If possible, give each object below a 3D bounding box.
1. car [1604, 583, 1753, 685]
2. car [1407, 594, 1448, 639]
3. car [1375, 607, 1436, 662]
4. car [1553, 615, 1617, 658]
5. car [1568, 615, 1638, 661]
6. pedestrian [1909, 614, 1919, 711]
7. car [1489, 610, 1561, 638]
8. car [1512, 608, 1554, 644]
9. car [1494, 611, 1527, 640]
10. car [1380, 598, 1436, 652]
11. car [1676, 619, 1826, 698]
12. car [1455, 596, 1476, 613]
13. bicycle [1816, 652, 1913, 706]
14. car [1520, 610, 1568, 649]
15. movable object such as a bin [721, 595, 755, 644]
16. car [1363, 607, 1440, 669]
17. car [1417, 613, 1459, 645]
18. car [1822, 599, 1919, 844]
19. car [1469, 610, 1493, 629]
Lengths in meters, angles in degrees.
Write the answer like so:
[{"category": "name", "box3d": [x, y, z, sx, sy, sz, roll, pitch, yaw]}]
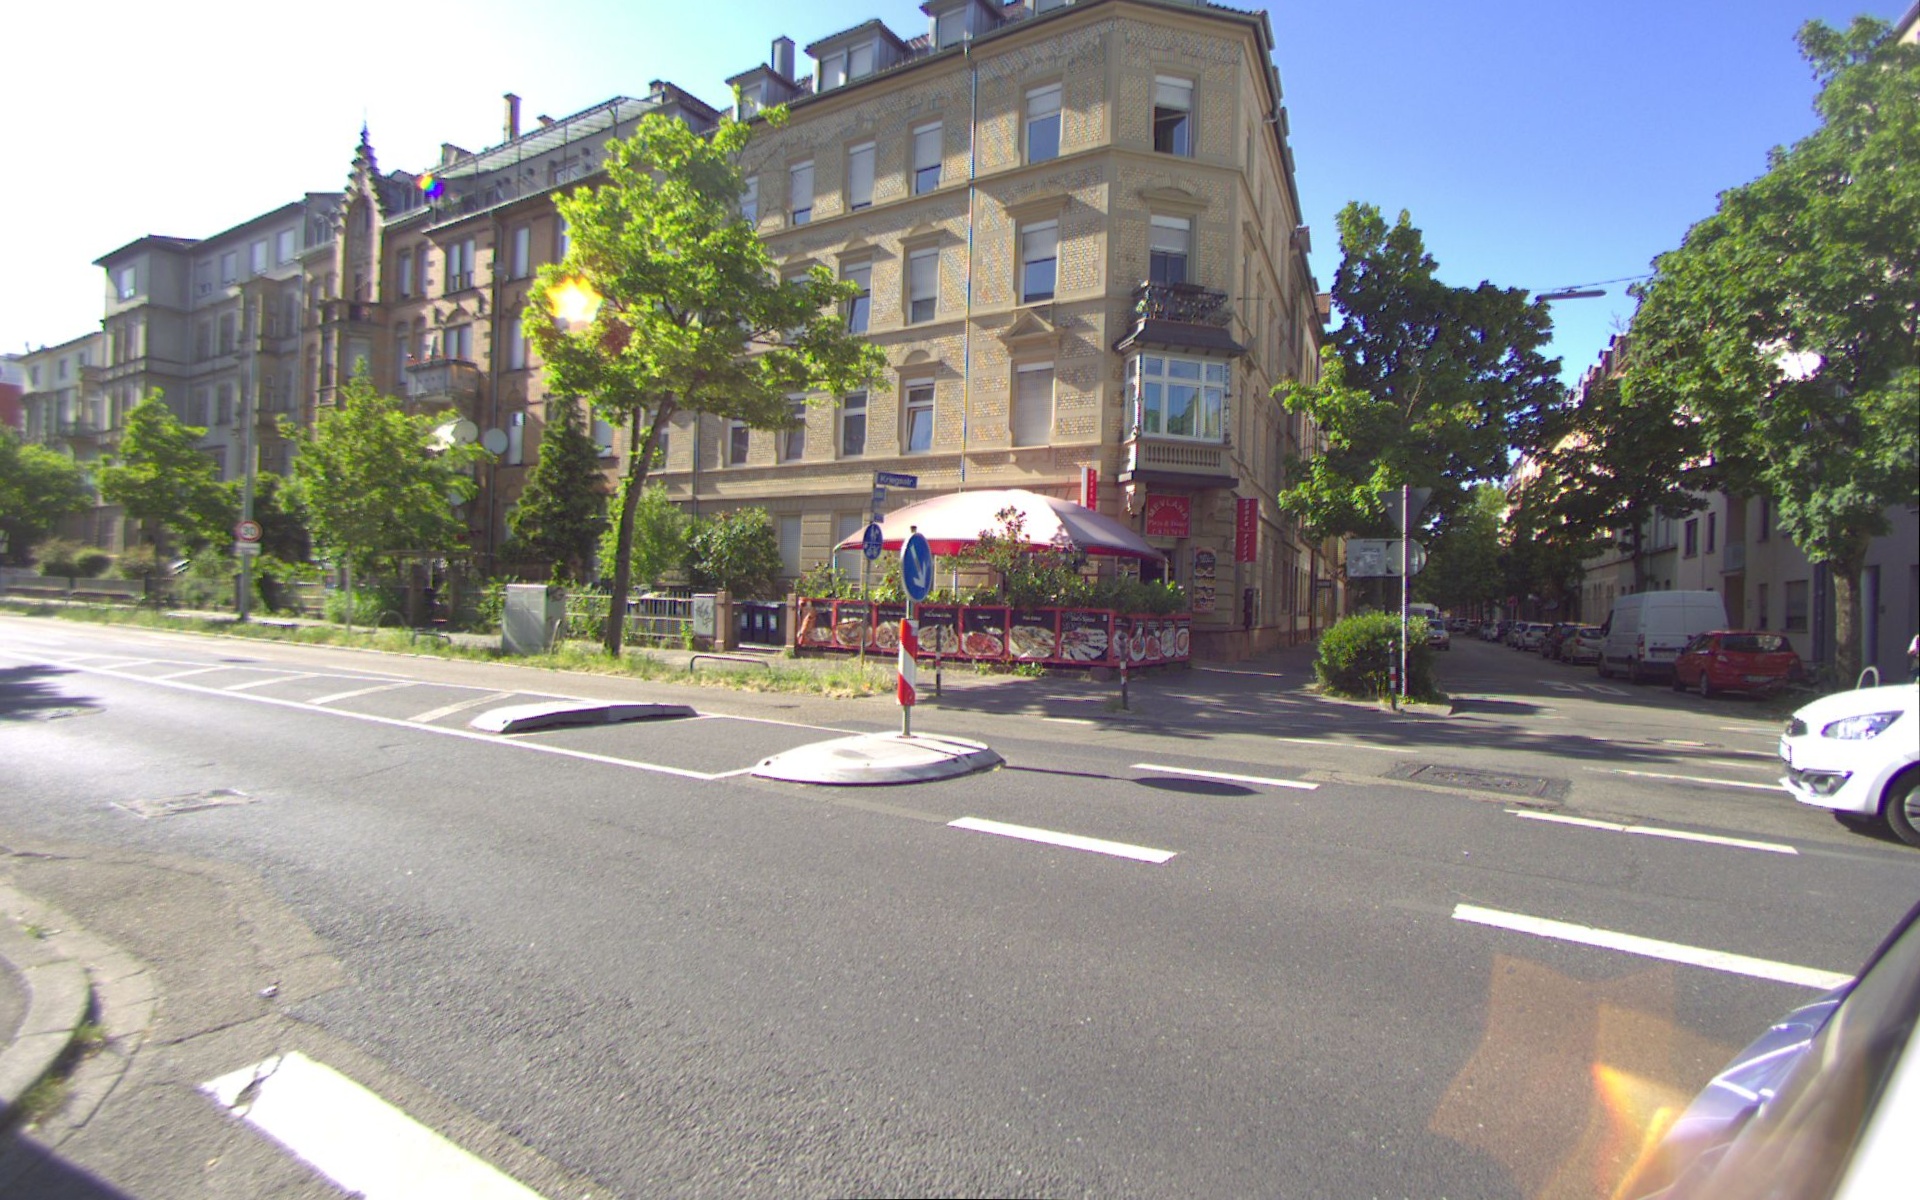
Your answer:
[{"category": "car", "box3d": [19.545, 0.835, 27.829, 2.195, 2.482, 5.056, 1, 0, 22]}, {"category": "car", "box3d": [30.332, 1.119, 65.789, 2.251, 2.696, 4.286, 2, -2, 23]}, {"category": "car", "box3d": [14.478, 1.111, 33.016, 1.676, 1.616, 3.968, 2, -1, 23]}, {"category": "car", "box3d": [25.957, 1.480, 42.158, 1.767, 1.576, 3.789, 2, 0, 24]}, {"category": "car", "box3d": [24.296, 1.400, 38.367, 1.677, 1.576, 3.789, 2, 0, 24]}, {"category": "pedestrian", "box3d": [16.209, 1.042, 16.720, 0.521, 1.596, 0.635, 1, 0, -31]}, {"category": "car", "box3d": [36.661, 1.529, 65.772, 3.959, 1.607, 1.802, 2, -2, 25]}, {"category": "car", "box3d": [32.893, 1.450, 58.170, 1.759, 1.905, 3.964, 2, 0, 25]}, {"category": "car", "box3d": [38.096, 1.727, 70.064, 1.759, 1.905, 3.964, 2, 0, 25]}, {"category": "car", "box3d": [18.364, 1.018, 41.471, 1.976, 2.055, 4.265, 2, -1, 25]}, {"category": "car", "box3d": [17.243, 1.201, 22.265, 1.675, 1.481, 3.966, 2, 0, 25]}, {"category": "car", "box3d": [57.166, 0.505, 114.445, 1.848, 1.792, 3.969, 1, 0, 23]}, {"category": "bicycle", "box3d": [15.447, 1.347, 17.300, 1.190, 0.833, 0.291, 2, 0, 25]}, {"category": "car", "box3d": [30.133, 1.490, 52.302, 1.759, 1.905, 3.964, 2, 0, 25]}, {"category": "movable object such as a bin", "box3d": [-5.291, 0.456, 24.121, 0.548, 1.147, 0.563, 1, 0, 35]}, {"category": "car", "box3d": [12.380, 1.051, 28.498, 1.760, 1.459, 3.967, 5, 0, 23]}, {"category": "car", "box3d": [23.716, 1.439, 50.292, 1.676, 1.492, 3.968, 2, -1, 23]}, {"category": "car", "box3d": [8.045, 0.840, 6.132, 4.071, 1.549, 1.645, 2, 0, 34]}, {"category": "car", "box3d": [52.667, 1.962, 102.361, 1.848, 1.792, 3.969, 1, 0, 23]}]
